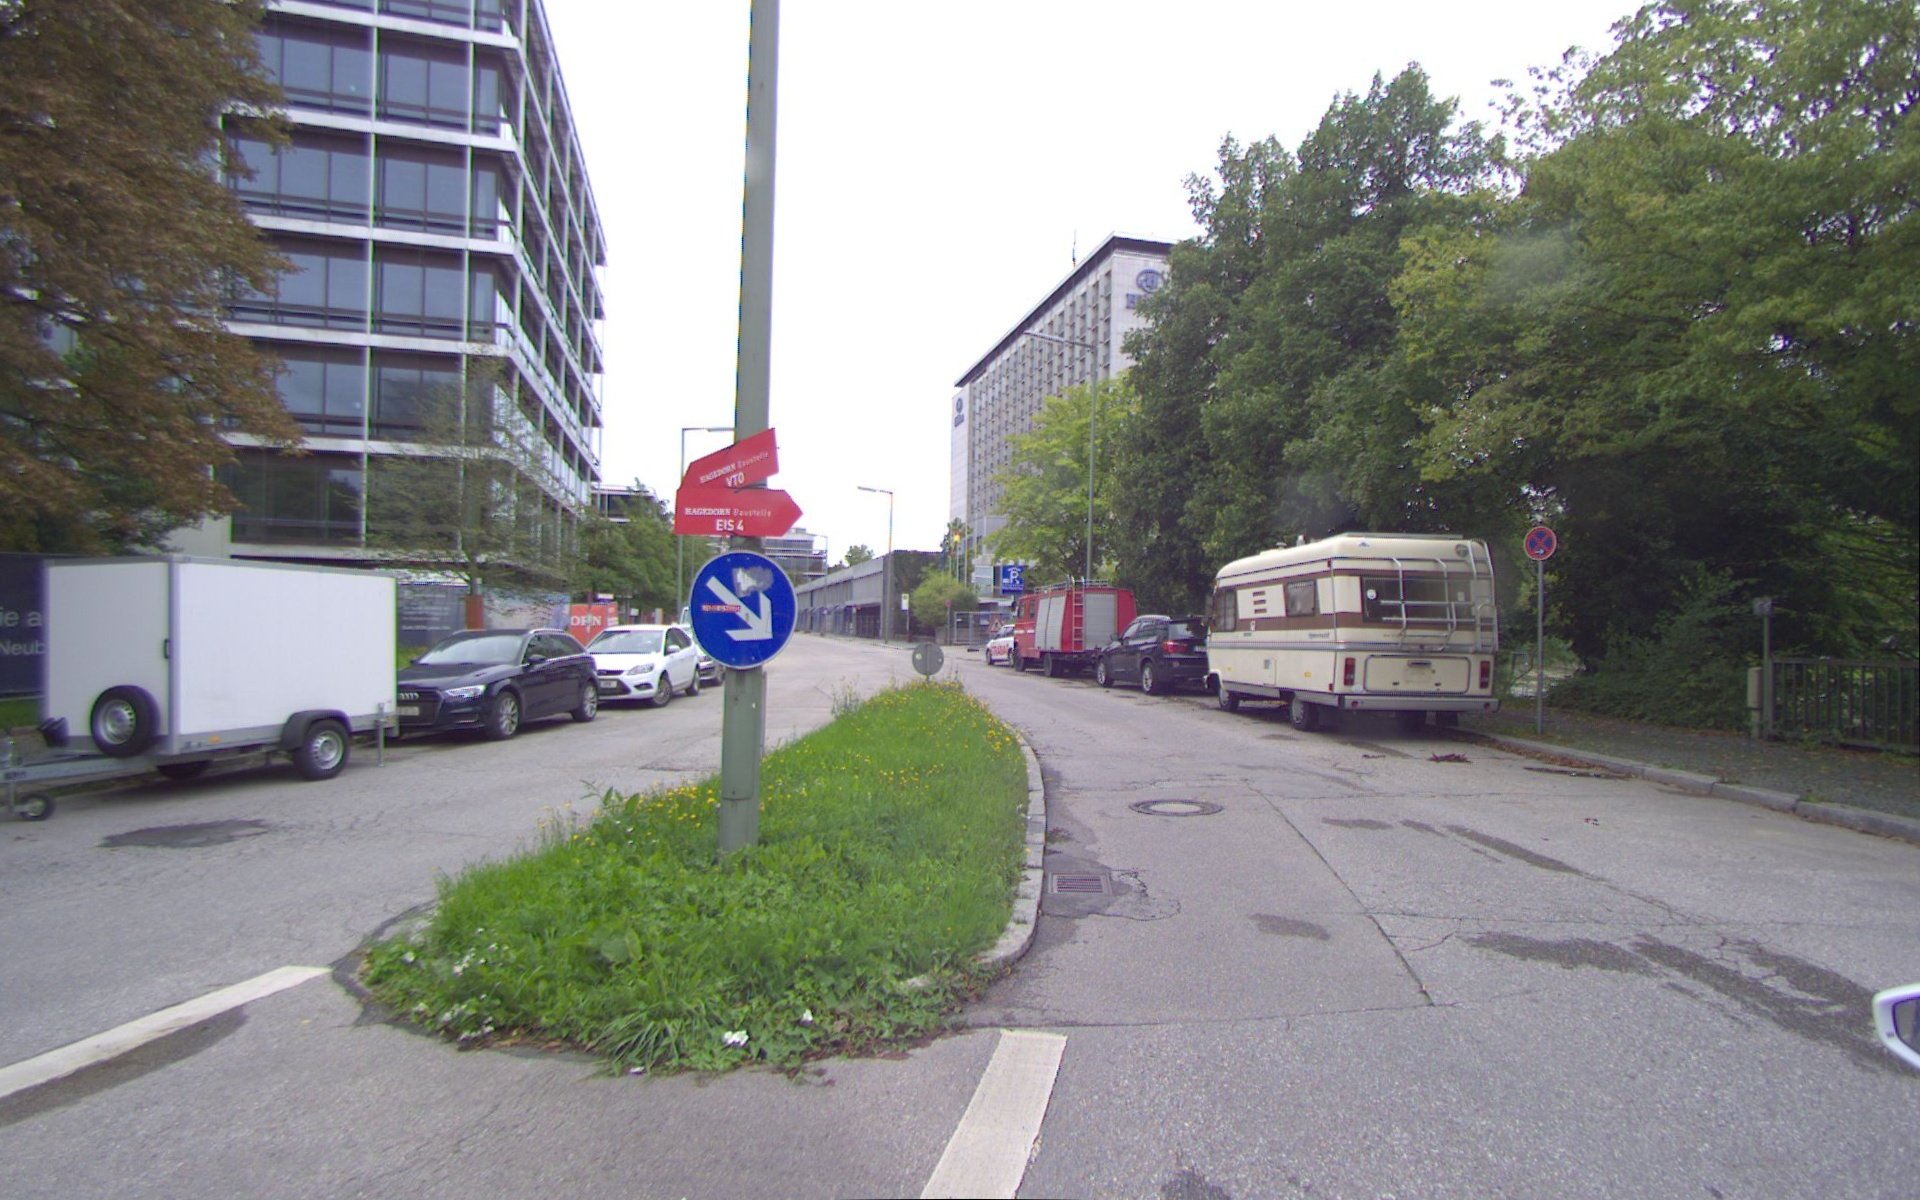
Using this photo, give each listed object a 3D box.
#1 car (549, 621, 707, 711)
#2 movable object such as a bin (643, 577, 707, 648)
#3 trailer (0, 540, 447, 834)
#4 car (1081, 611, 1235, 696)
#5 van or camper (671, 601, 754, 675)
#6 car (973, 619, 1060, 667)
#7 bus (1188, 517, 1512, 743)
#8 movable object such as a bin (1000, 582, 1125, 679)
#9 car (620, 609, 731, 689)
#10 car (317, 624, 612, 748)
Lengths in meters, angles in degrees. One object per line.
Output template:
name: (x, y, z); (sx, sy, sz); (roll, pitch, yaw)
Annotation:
car: (-6.282, 1.190, 19.511); (1.738, 1.506, 4.220); (1, -1, -2)
movable object such as a bin: (-16.321, 0.710, 57.962); (3.197, 3.766, 8.981); (1, -1, -15)
trailer: (-7.098, 0.619, 8.938); (1.778, 2.040, 4.837); (1, -1, 13)
car: (4.251, 1.112, 22.316); (1.751, 1.671, 4.450); (1, -1, -12)
van or camper: (-7.444, 1.080, 30.635); (1.964, 2.040, 5.368); (1, -1, -9)
car: (1.906, 1.468, 35.375); (1.753, 1.570, 4.242); (1, -1, -16)
bus: (5.467, 0.436, 15.216); (2.278, 2.734, 5.730); (1, -1, -5)
movable object such as a bin: (2.799, 0.854, 29.211); (2.073, 2.491, 6.177); (1, -1, -9)
car: (-6.854, 1.115, 24.660); (1.963, 1.751, 4.444); (1, -1, -7)
car: (-6.647, 1.072, 14.107); (1.840, 1.456, 4.330); (0, -1, 2)
